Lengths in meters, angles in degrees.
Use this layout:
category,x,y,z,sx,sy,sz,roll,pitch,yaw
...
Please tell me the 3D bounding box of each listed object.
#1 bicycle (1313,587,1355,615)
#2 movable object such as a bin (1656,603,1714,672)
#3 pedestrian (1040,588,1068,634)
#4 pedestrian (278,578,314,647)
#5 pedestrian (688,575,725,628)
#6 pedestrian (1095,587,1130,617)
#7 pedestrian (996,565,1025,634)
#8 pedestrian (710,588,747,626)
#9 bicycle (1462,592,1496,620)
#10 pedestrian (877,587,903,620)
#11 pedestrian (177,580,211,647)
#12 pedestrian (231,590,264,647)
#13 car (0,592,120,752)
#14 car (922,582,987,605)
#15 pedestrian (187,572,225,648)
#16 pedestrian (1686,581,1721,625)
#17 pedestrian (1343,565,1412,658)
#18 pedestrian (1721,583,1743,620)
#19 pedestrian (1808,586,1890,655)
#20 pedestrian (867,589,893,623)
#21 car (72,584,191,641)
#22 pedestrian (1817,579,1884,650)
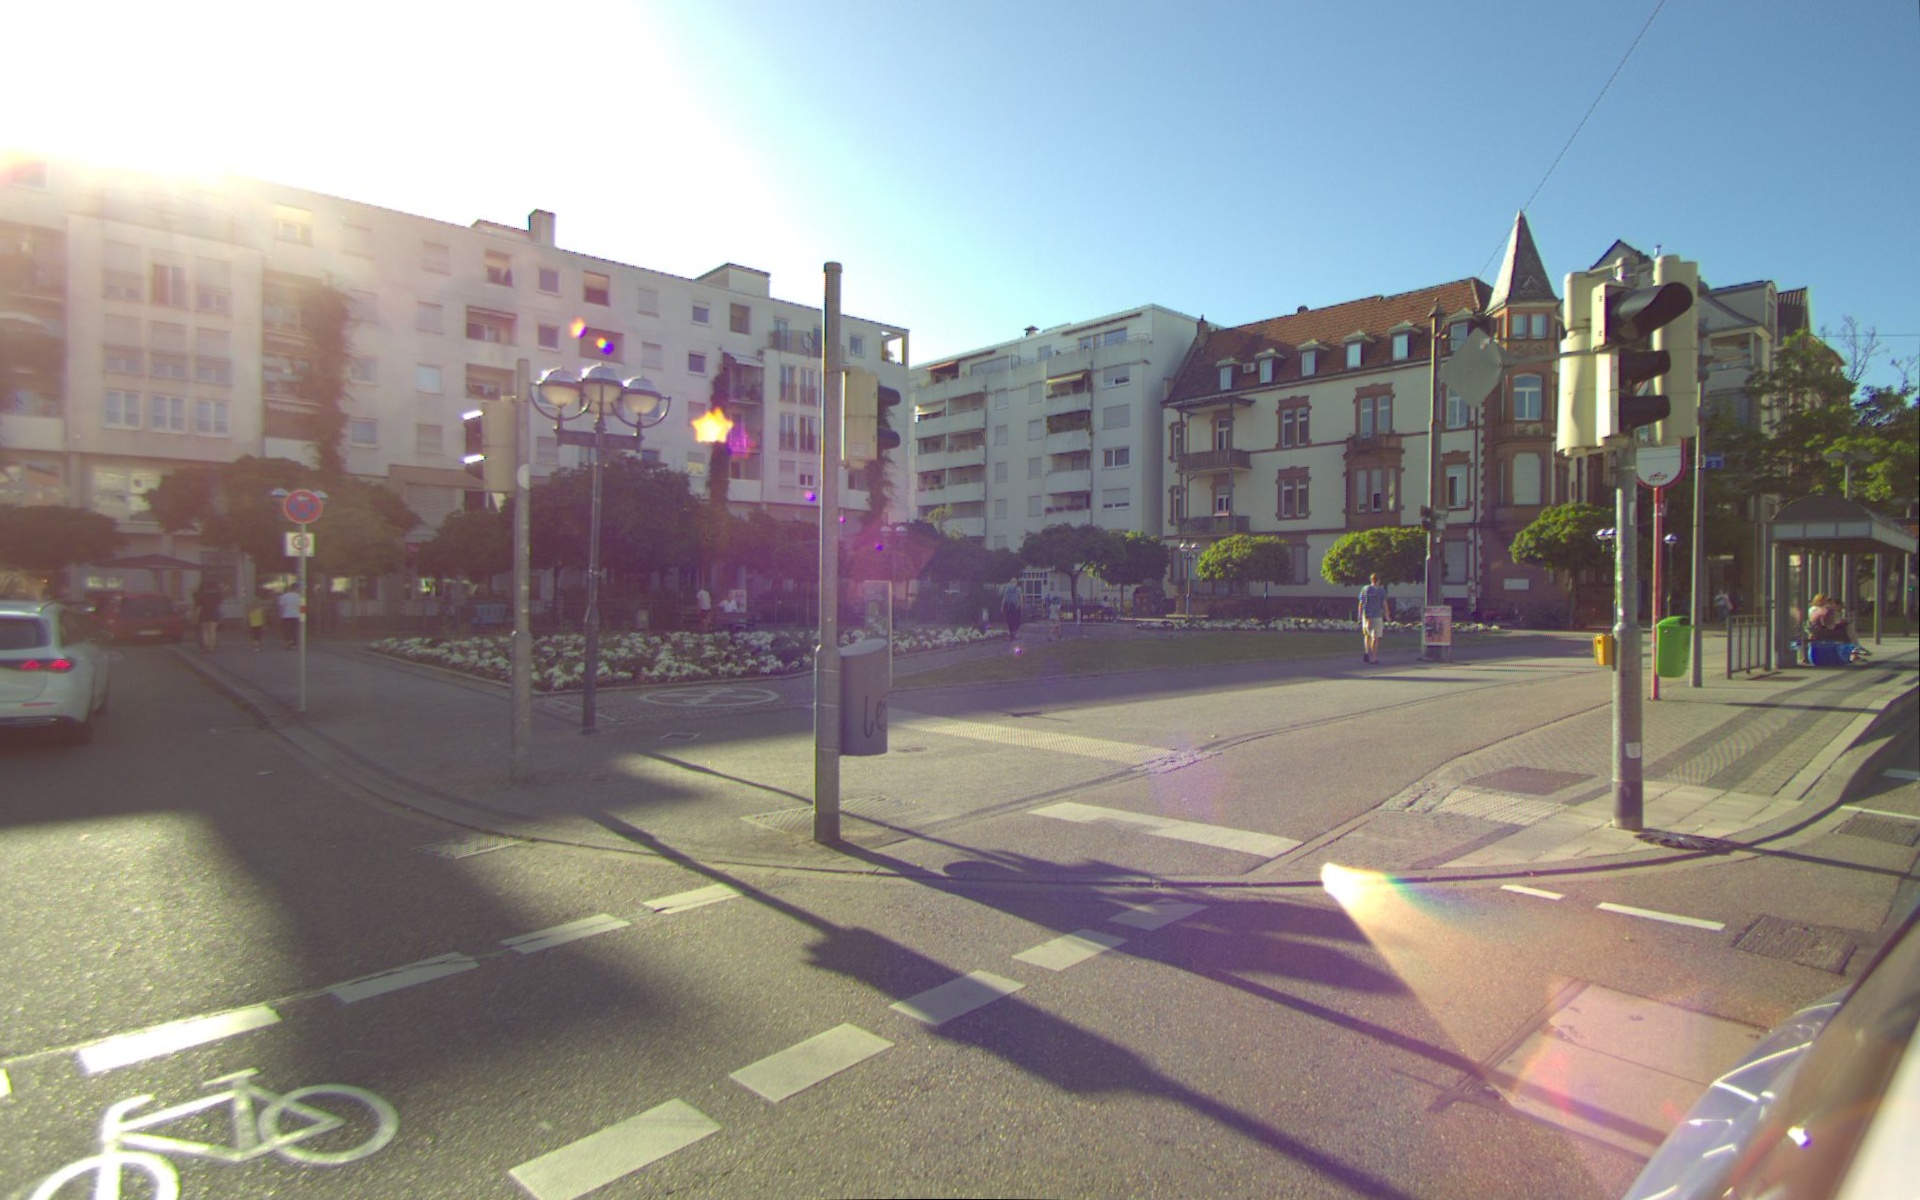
category,x,y,z,sx,sy,sz,roll,pitch,yaw
bicycle,18.844,0.043,50.987,2.864,1.389,0.745,0,1,-42
movable object such as a bin,8.764,0.439,12.234,0.480,0.796,0.450,0,0,-38
pedestrian,2.478,0.290,26.704,0.547,1.183,0.471,-1,0,-33
pedestrian,-15.706,0.280,23.919,0.650,1.605,0.904,0,0,-37
pedestrian,-8.519,0.030,34.043,1.018,1.746,0.668,0,0,29
pedestrian,7.422,0.076,49.301,0.917,1.429,1.529,0,0,-31
pedestrian,1.334,-0.012,26.504,0.516,1.767,0.560,-1,0,-31
pedestrian,-8.128,0.235,35.508,1.031,1.287,0.725,1,0,28
bicycle,22.767,0.246,44.356,0.786,1.081,2.768,0,2,39
pedestrian,-2.788,0.143,40.395,0.737,1.287,0.725,0,0,28
pedestrian,-18.583,0.313,24.567,0.650,1.605,0.904,0,0,-37
pedestrian,-16.606,0.424,23.580,0.593,1.295,0.904,0,0,-37
car,-10.635,0.670,11.112,1.954,1.483,4.812,1,-1,-37
car,-0.370,-0.439,67.787,3.924,1.536,2.000,0,1,-35
pedestrian,-17.375,0.215,23.316,0.682,1.706,0.904,0,0,-37
pedestrian,28.898,0.096,39.344,1.063,1.689,0.944,0,0,36
pedestrian,8.917,0.240,21.621,1.110,1.901,0.982,2,-1,-43
pedestrian,36.551,0.062,47.917,0.739,1.757,0.864,0,0,42
pedestrian,16.507,0.381,18.795,0.907,1.241,1.000,-1,-2,-41
pedestrian,-3.147,0.224,39.765,0.737,1.287,0.725,0,0,28
car,-23.621,0.305,28.823,3.982,1.504,1.971,1,1,41
pedestrian,17.440,0.294,19.828,0.612,1.351,0.860,-1,-2,-41
